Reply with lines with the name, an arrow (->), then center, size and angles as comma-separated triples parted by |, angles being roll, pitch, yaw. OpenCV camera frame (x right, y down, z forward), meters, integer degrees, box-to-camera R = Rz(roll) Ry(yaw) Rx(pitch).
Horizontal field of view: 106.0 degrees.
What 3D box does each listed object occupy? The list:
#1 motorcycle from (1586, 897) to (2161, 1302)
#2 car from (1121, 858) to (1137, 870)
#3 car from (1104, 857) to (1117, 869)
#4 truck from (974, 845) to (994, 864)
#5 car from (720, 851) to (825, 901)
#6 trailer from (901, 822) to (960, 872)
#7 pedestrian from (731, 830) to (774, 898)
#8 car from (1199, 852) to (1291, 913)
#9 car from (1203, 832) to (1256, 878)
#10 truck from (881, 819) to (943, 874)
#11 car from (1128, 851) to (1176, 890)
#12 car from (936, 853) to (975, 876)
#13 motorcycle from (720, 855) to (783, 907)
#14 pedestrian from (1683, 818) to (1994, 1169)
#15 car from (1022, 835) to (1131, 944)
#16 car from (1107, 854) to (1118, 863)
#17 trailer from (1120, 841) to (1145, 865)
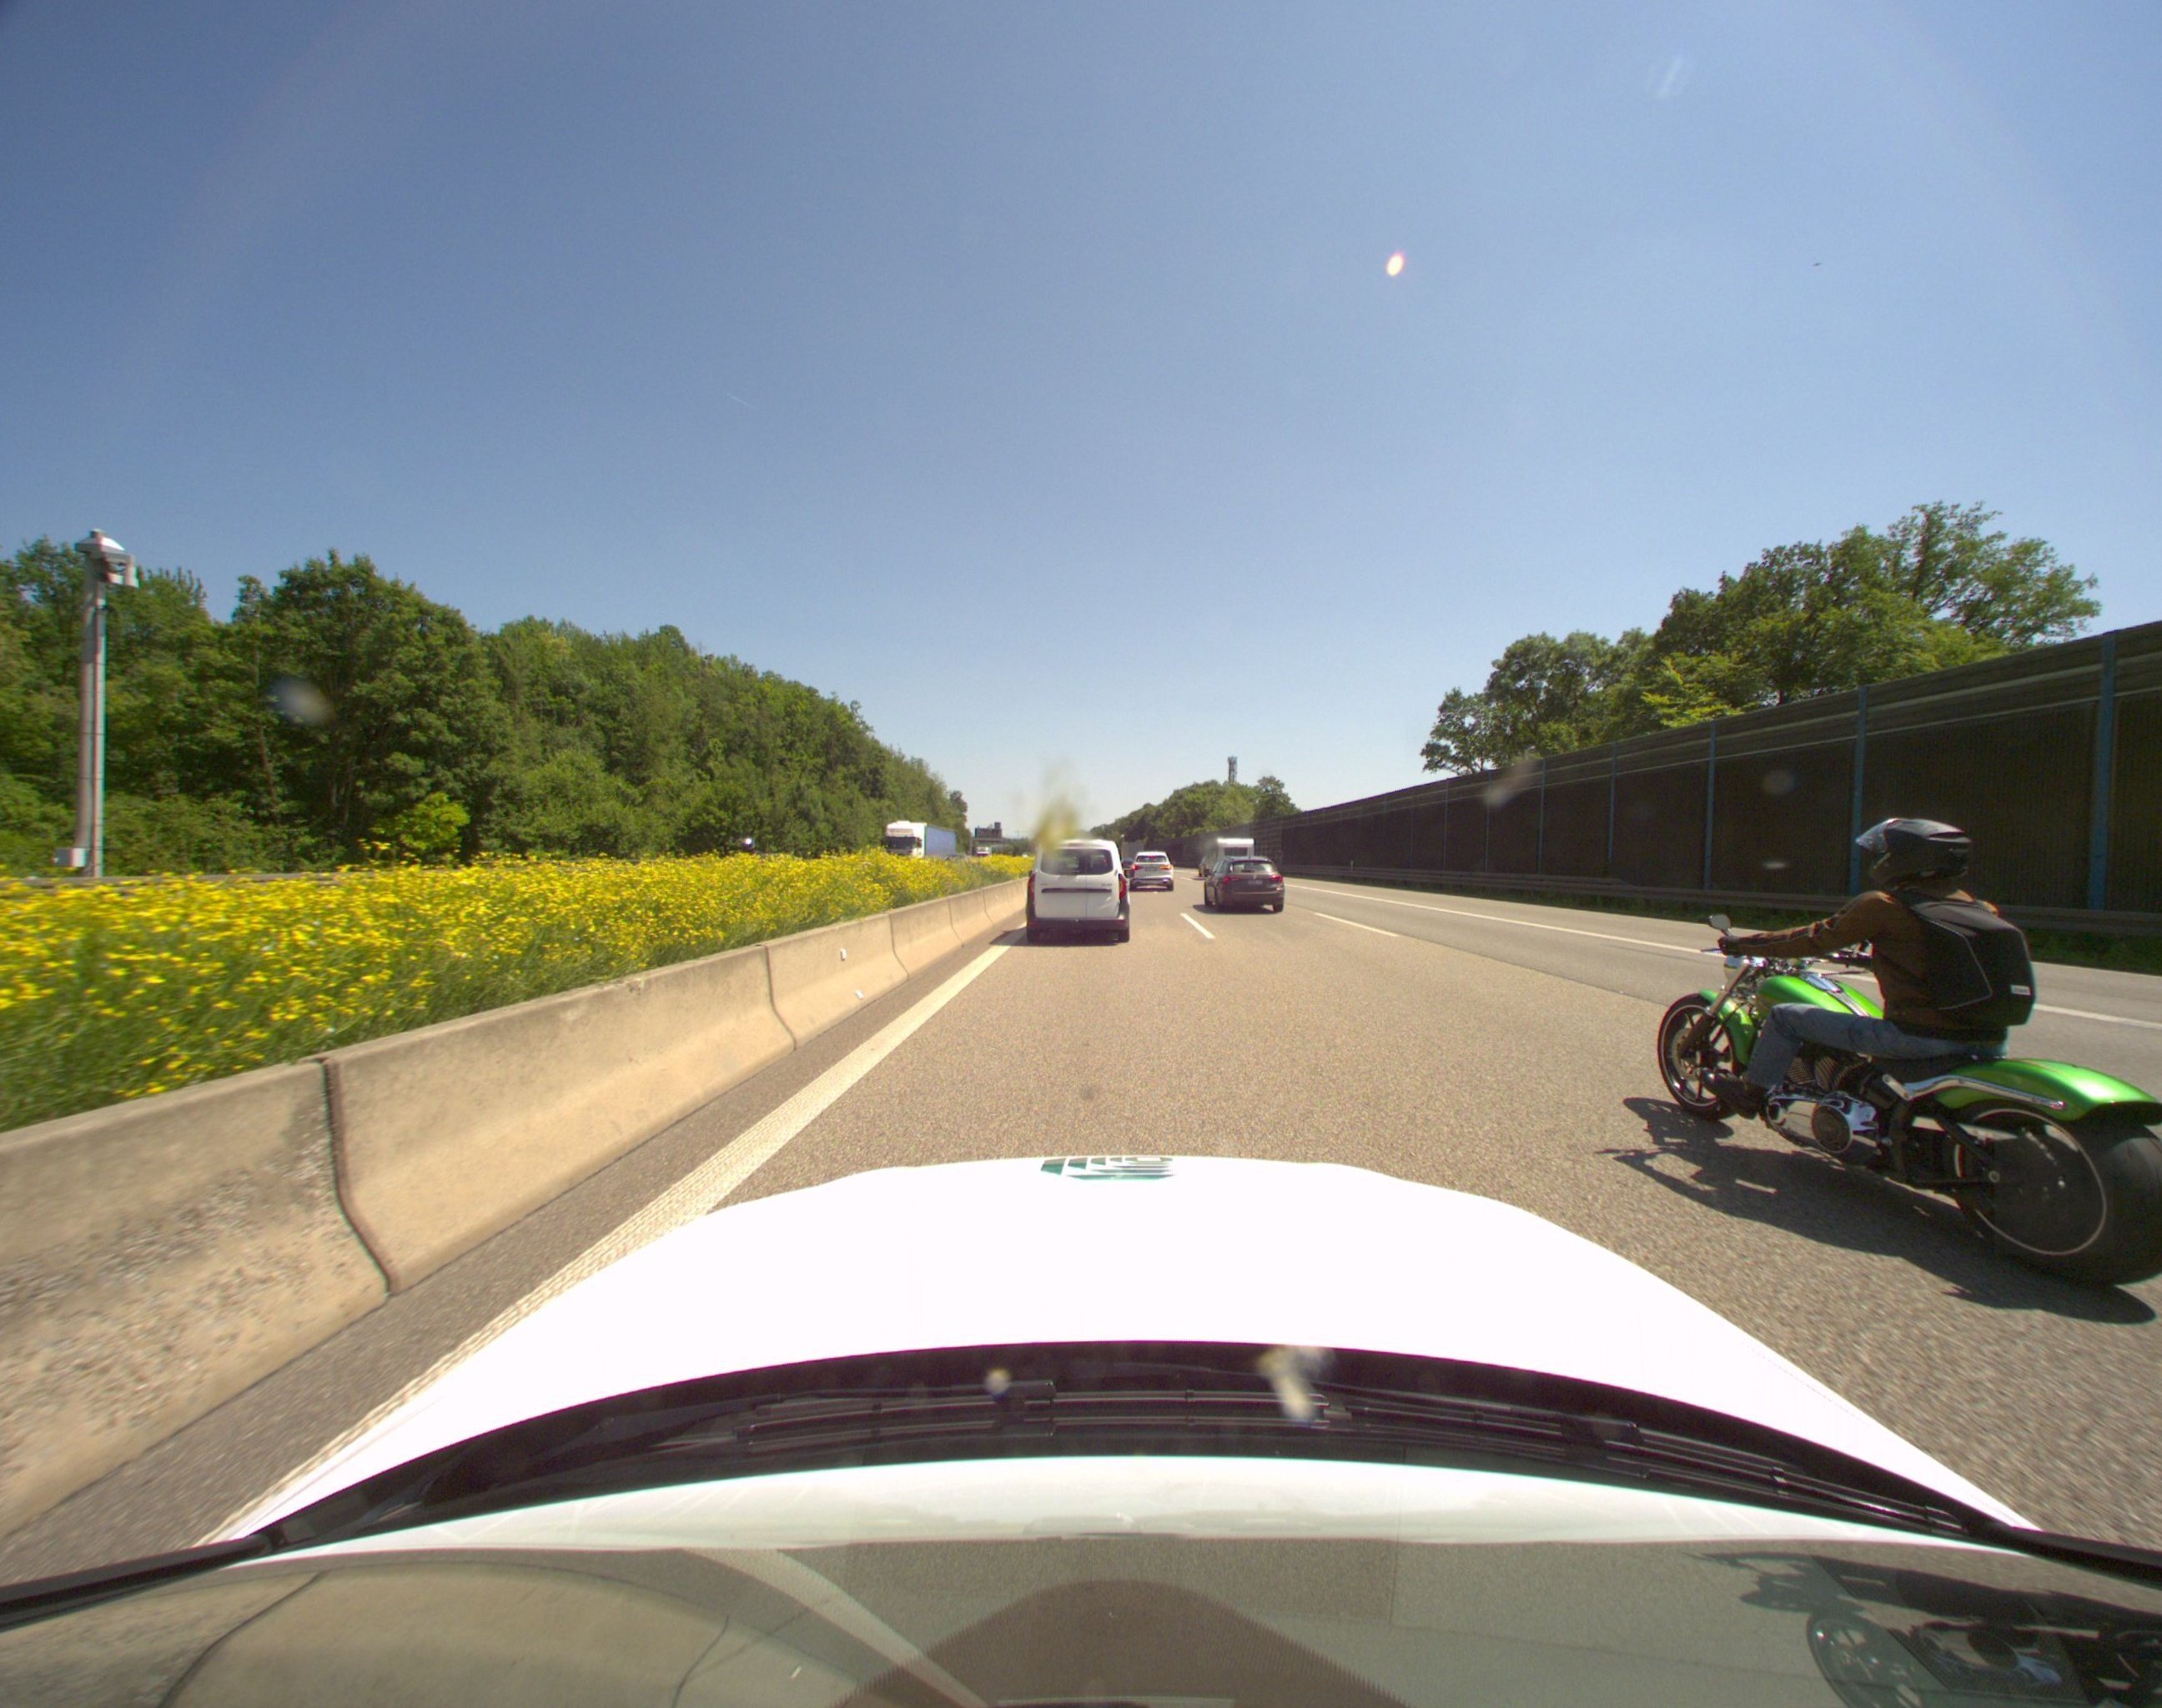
motorcycle -> 3.440, 0.857, 3.779 | 0.856, 1.182, 2.277 | 0, 0, 2
car -> 5.870, 1.201, 99.638 | 1.818, 1.424, 4.000 | 0, -1, 0
car -> 4.778, 1.433, 132.085 | 1.819, 1.989, 3.997 | -1, 0, -2
truck -> -18.017, 0.181, 152.123 | 2.726, 3.475, 7.314 | 0, 0, 0
car -> -9.875, 0.661, 26.419 | 1.798, 1.489, 4.001 | 0, 0, 1
trailer -> -12.433, -0.542, 68.141 | 2.770, 3.857, 10.173 | 0, 0, 1
pedestrian -> -6.762, 0.206, 16.770 | 0.659, 1.365, 0.532 | 0, 0, 1
car -> 4.451, 0.718, 22.741 | 1.831, 1.513, 4.403 | 0, 0, 2
car -> 9.581, 0.095, 53.110 | 2.470, 2.766, 6.220 | 0, -1, 1
truck -> -12.617, -0.554, 61.590 | 2.738, 3.857, 8.416 | 0, 0, 1
car -> 3.058, 0.668, 35.701 | 1.864, 1.608, 3.880 | 0, 0, 2
car -> -8.990, 0.722, 58.849 | 1.986, 1.562, 4.641 | 0, 0, 1
motorcycle -> -6.767, 0.533, 16.800 | 0.664, 1.041, 1.476 | 0, 0, 2
pedestrian -> 3.437, 0.588, 3.762 | 0.848, 1.479, 0.638 | 0, 0, 1
car -> -0.013, 0.601, 15.510 | 1.795, 1.808, 4.001 | 0, 0, 2
car -> 6.936, 1.046, 180.167 | 1.989, 2.014, 3.996 | 0, 0, -2
trailer -> 8.647, -0.116, 138.263 | 3.074, 3.986, 10.312 | 0, -1, -3
